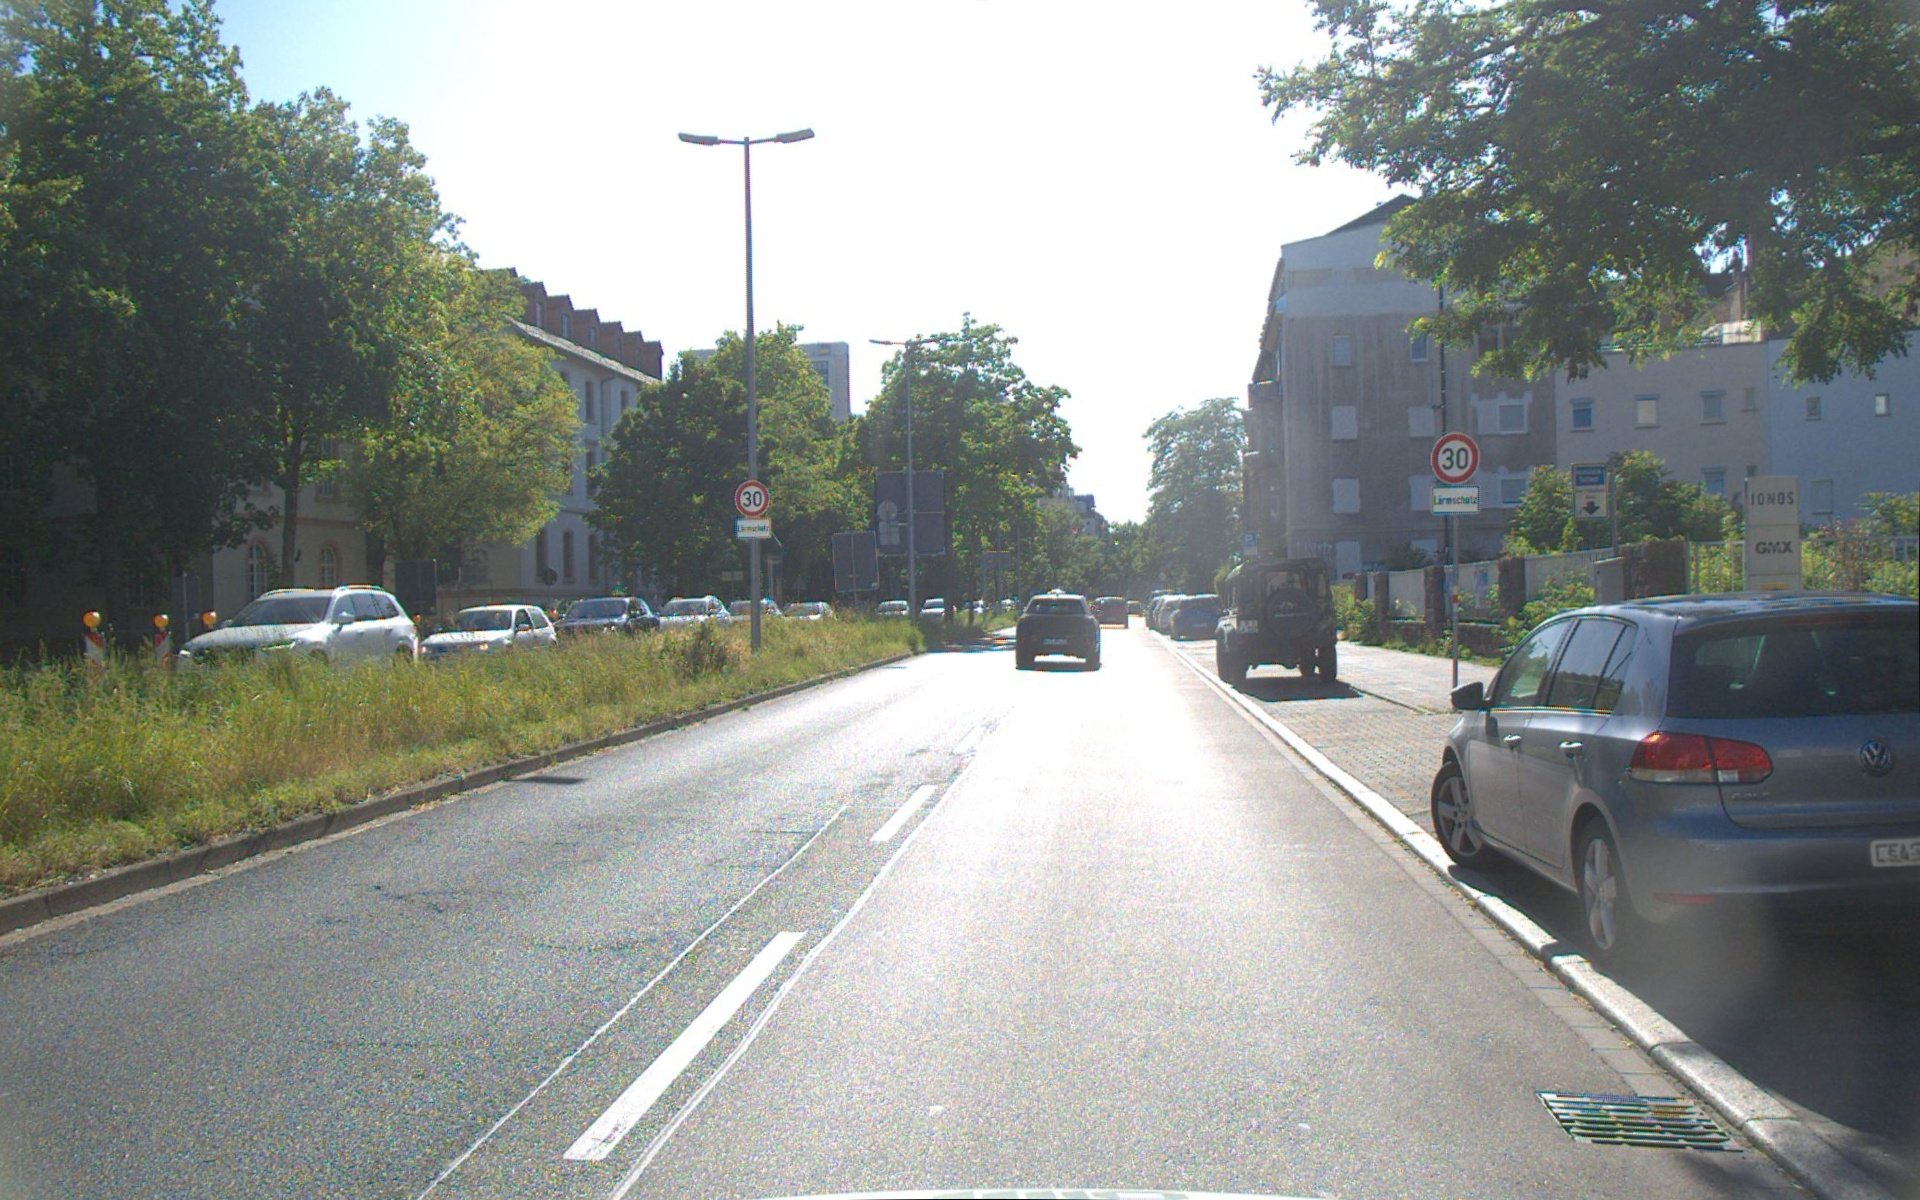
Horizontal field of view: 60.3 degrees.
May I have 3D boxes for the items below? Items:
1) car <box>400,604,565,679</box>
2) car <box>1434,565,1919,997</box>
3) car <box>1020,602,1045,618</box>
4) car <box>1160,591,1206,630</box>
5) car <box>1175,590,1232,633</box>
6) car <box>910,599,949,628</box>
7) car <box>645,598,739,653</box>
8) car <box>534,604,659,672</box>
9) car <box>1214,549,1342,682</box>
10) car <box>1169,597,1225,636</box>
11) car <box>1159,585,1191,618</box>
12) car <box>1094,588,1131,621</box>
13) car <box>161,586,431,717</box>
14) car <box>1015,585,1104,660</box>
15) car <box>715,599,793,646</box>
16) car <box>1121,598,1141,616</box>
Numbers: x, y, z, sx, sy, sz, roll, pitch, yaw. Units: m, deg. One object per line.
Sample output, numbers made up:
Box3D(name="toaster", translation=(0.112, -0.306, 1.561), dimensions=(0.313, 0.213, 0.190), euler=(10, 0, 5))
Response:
Box3D(name="car", translation=(-9.370, 0.777, 32.803), dimensions=(1.758, 1.375, 4.260), euler=(-1, 0, 4))
Box3D(name="car", translation=(3.516, 0.612, 7.949), dimensions=(1.603, 1.473, 4.159), euler=(-1, 2, 5))
Box3D(name="car", translation=(7.160, 0.982, 163.469), dimensions=(1.721, 1.545, 3.862), euler=(-1, 0, 13))
Box3D(name="car", translation=(9.223, 0.422, 68.663), dimensions=(1.575, 1.471, 3.661), euler=(-4, 0, 4))
Box3D(name="car", translation=(9.357, 0.430, 63.839), dimensions=(1.634, 1.485, 3.987), euler=(-4, 0, 2))
Box3D(name="car", translation=(-1.802, 0.799, 98.675), dimensions=(1.861, 1.654, 4.539), euler=(-2, 0, 4))
Box3D(name="car", translation=(-7.881, 0.727, 48.997), dimensions=(1.758, 1.545, 4.260), euler=(-1, 0, 4))
Box3D(name="car", translation=(-8.858, 0.897, 40.669), dimensions=(1.758, 1.545, 4.447), euler=(-1, 0, 4))
Box3D(name="car", translation=(5.409, 0.267, 28.608), dimensions=(1.625, 2.049, 4.779), euler=(-2, -1, 5))
Box3D(name="car", translation=(8.440, 0.560, 59.159), dimensions=(1.633, 1.203, 3.903), euler=(-5, 0, 4))
Box3D(name="car", translation=(12.794, 0.069, 98.321), dimensions=(1.780, 1.876, 4.368), euler=(-2, 0, 8))
Box3D(name="car", translation=(7.553, 0.191, 81.901), dimensions=(1.754, 1.547, 3.852), euler=(0, 1, 5))
Box3D(name="car", translation=(-9.957, 0.719, 25.296), dimensions=(1.758, 1.774, 5.034), euler=(-1, 0, 4))
Box3D(name="car", translation=(2.201, 0.482, 36.861), dimensions=(1.855, 1.545, 4.001), euler=(1, 0, 3))
Box3D(name="car", translation=(-6.977, 0.796, 56.336), dimensions=(1.757, 1.546, 4.260), euler=(0, -2, 5))
Box3D(name="car", translation=(17.000, 0.687, 164.031), dimensions=(1.879, 1.668, 4.003), euler=(-2, 0, 7))
